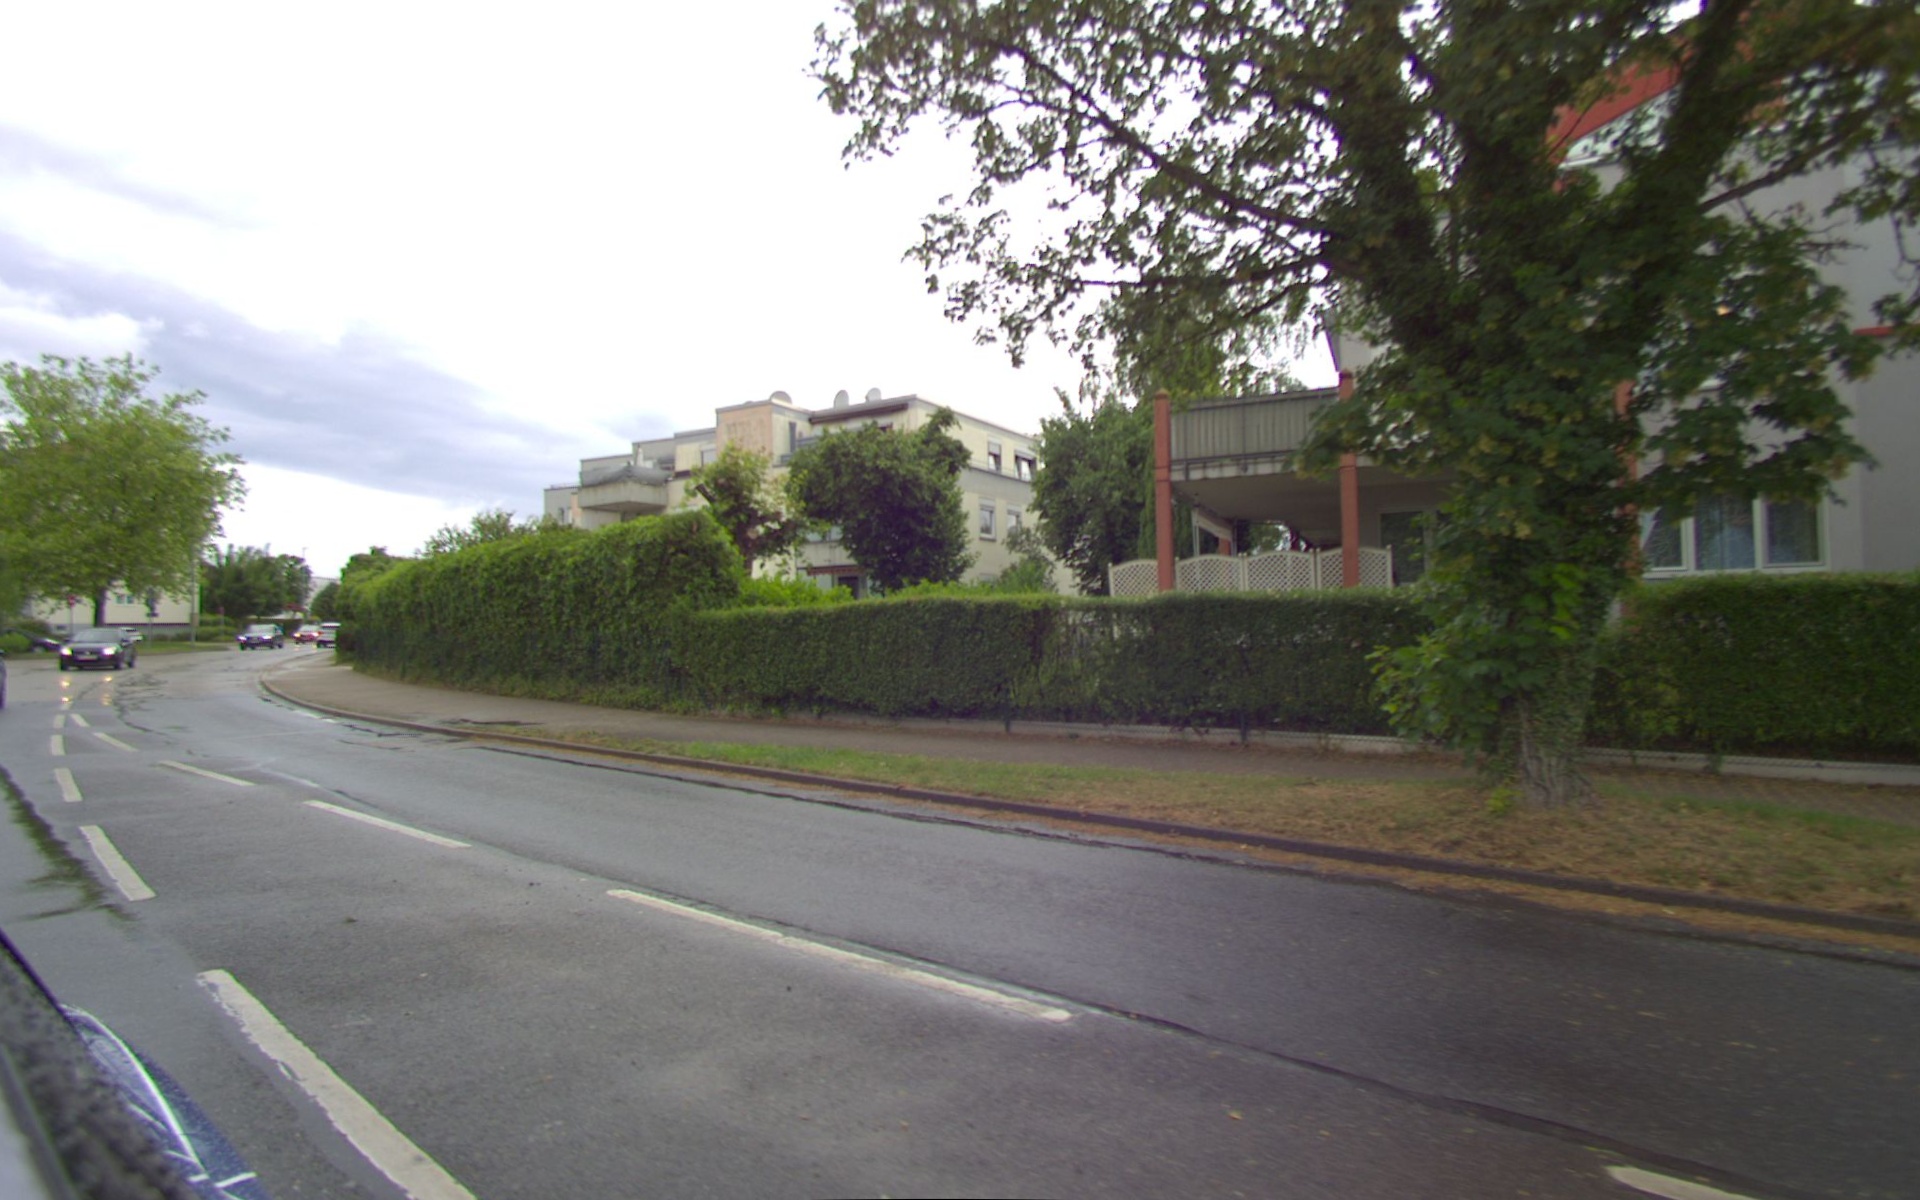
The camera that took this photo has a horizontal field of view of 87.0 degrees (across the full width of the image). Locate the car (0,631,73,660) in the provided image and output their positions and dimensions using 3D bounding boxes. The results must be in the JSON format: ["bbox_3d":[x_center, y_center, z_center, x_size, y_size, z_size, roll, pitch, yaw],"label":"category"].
[{"bbox_3d":[-48.574,2.305,51.768,4.509,1.454,1.770,1,-2,-30],"label":"car"}]

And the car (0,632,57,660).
[{"bbox_3d":[-50.828,2.435,53.367,4.509,1.454,1.770,1,-2,-30],"label":"car"}]

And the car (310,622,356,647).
[{"bbox_3d":[-44.076,2.413,71.241,1.864,1.623,4.881,-1,0,-21],"label":"car"}]

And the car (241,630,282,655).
[{"bbox_3d":[-46.164,2.782,66.948,1.810,1.562,4.012,0,-1,-29],"label":"car"}]

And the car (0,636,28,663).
[{"bbox_3d":[-53.612,2.671,55.034,3.954,1.454,1.770,1,-2,-30],"label":"car"}]

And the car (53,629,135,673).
[{"bbox_3d":[-31.147,1.787,36.506,1.811,1.460,4.010,0,-1,-34],"label":"car"}]

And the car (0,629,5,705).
[{"bbox_3d":[-17.676,1.201,17.146,1.884,1.444,4.307,3,-3,-40],"label":"car"}]

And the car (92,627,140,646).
[{"bbox_3d":[-67.868,2.935,81.368,3.753,1.492,1.729,-1,-2,29],"label":"car"}]
